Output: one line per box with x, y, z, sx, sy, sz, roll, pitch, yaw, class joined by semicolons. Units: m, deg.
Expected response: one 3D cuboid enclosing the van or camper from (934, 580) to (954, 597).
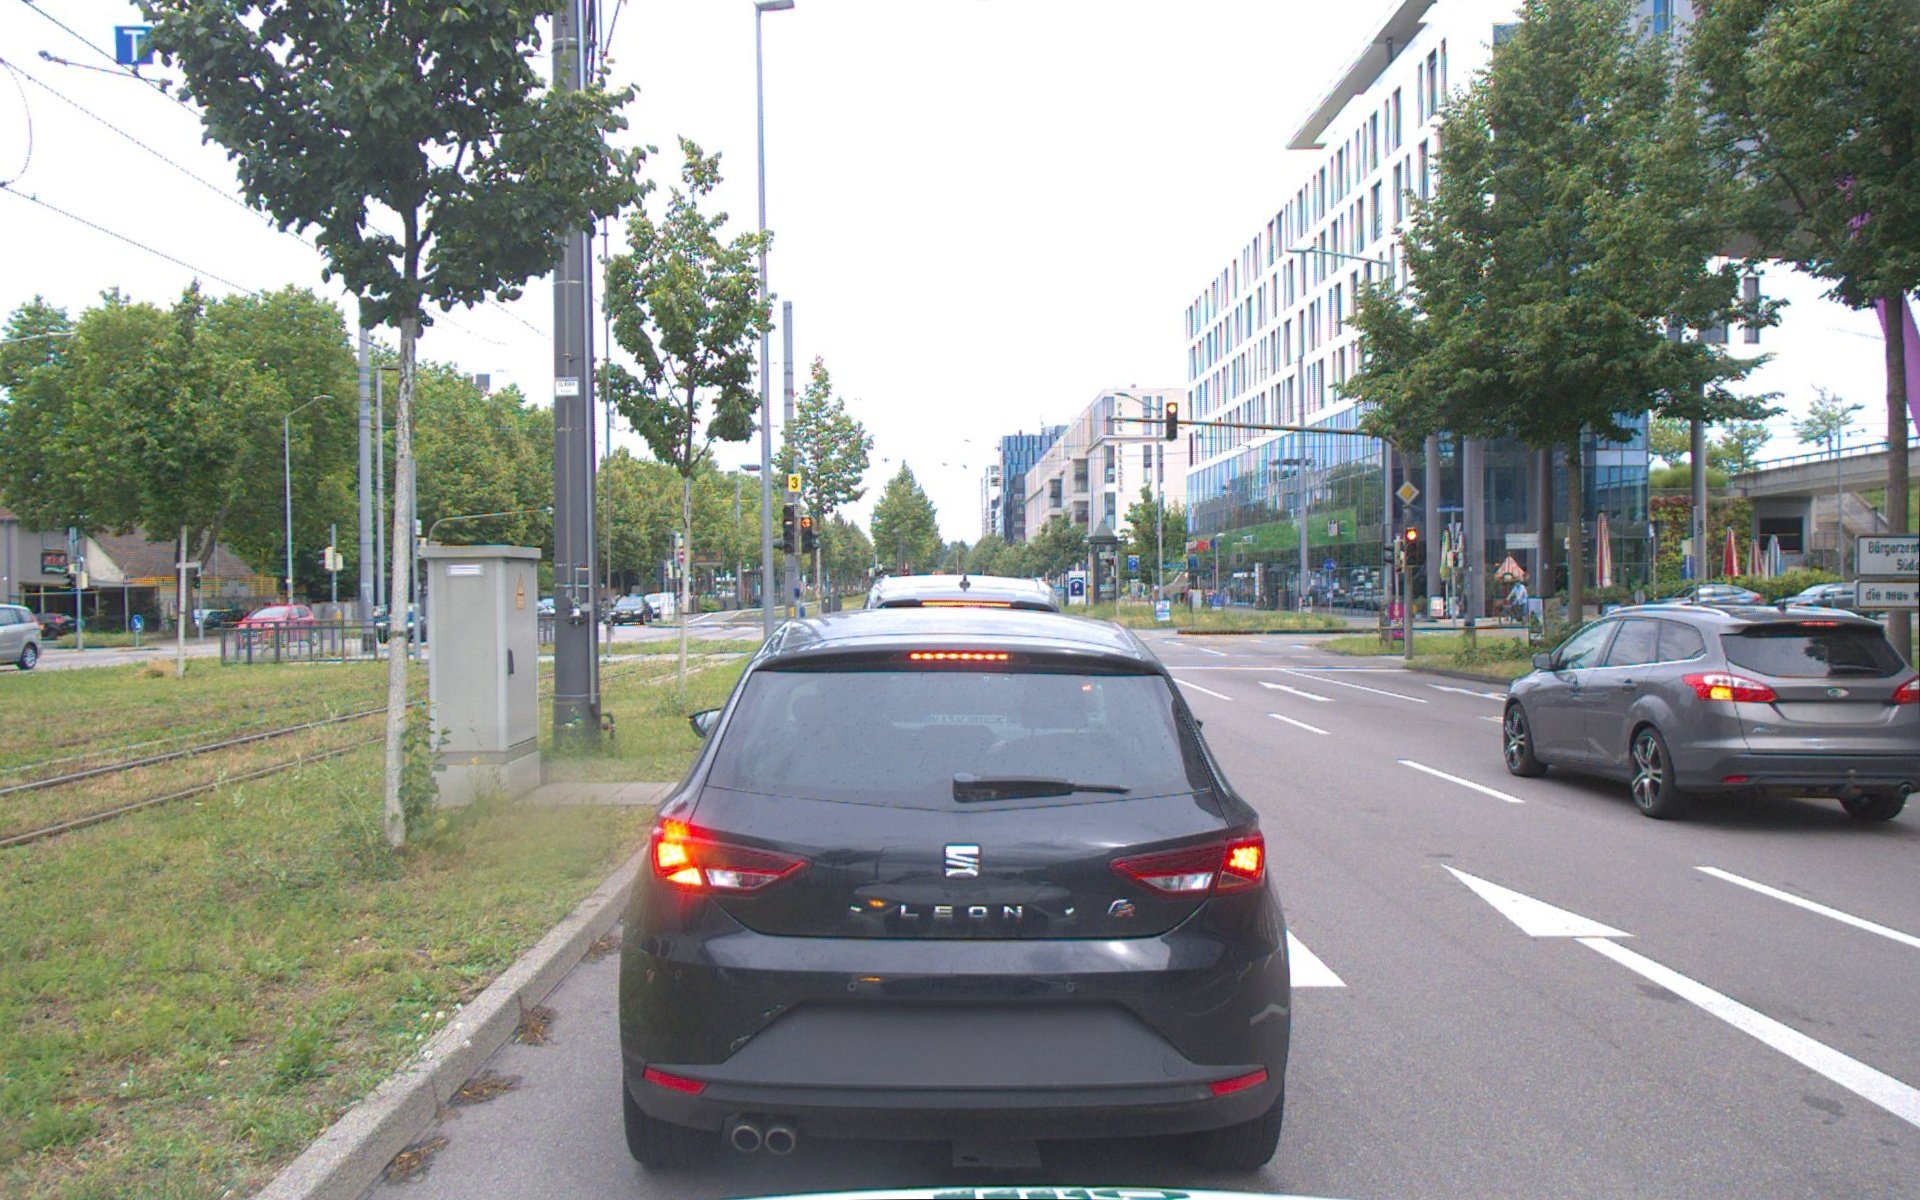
-1.591;-1.196;165.637;1.953;1.643;4.789;0;1;0;van or camper

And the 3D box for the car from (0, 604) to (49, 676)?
-23.448;0.954;38.845;1.686;1.672;4.672;-1;0;-3;car

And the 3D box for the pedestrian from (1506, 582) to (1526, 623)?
22.398;0.107;66.633;0.602;1.632;0.619;-1;0;1;pedestrian

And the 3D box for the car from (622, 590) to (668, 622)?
-18.108;0.347;95.190;1.953;1.780;4.199;-1;0;-2;car

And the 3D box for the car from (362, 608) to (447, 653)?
-20.387;1.090;60.858;1.630;1.451;4.744;-2;1;-2;car

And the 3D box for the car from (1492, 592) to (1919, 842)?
5.693;0.740;12.770;1.712;1.525;4.268;0;1;-1;car

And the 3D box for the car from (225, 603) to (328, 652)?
-23.771;0.929;57.679;1.759;1.598;4.328;-1;0;0;car

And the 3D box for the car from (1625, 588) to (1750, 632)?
28.509;0.393;64.893;4.163;1.643;1.758;-1;0;1;car

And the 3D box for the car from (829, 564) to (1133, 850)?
0.097;0.614;11.700;1.766;1.653;3.999;-1;0;-1;car

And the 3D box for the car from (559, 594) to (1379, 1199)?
-0.030;0.721;5.471;1.708;1.442;3.999;1;0;-2;car

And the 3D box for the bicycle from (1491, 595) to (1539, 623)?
22.358;0.375;66.634;1.755;1.104;0.618;-1;0;1;bicycle

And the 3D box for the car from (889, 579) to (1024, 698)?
0.023;0.542;26.084;1.952;1.711;4.001;1;1;2;car

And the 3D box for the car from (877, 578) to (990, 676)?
-0.436;0.456;31.138;1.952;1.711;4.001;1;1;1;car

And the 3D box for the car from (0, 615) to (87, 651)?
-50.482;1.797;90.632;4.190;1.847;2.108;-1;0;3;car

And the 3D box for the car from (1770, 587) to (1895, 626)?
34.417;0.241;65.303;3.996;1.480;1.758;-1;0;1;car

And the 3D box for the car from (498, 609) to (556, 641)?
-20.393;1.154;78.012;1.765;1.401;4.056;-1;0;-2;car

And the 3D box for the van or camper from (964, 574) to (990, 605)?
1.386;-0.895;135.932;2.066;2.397;4.923;0;2;0;van or camper
